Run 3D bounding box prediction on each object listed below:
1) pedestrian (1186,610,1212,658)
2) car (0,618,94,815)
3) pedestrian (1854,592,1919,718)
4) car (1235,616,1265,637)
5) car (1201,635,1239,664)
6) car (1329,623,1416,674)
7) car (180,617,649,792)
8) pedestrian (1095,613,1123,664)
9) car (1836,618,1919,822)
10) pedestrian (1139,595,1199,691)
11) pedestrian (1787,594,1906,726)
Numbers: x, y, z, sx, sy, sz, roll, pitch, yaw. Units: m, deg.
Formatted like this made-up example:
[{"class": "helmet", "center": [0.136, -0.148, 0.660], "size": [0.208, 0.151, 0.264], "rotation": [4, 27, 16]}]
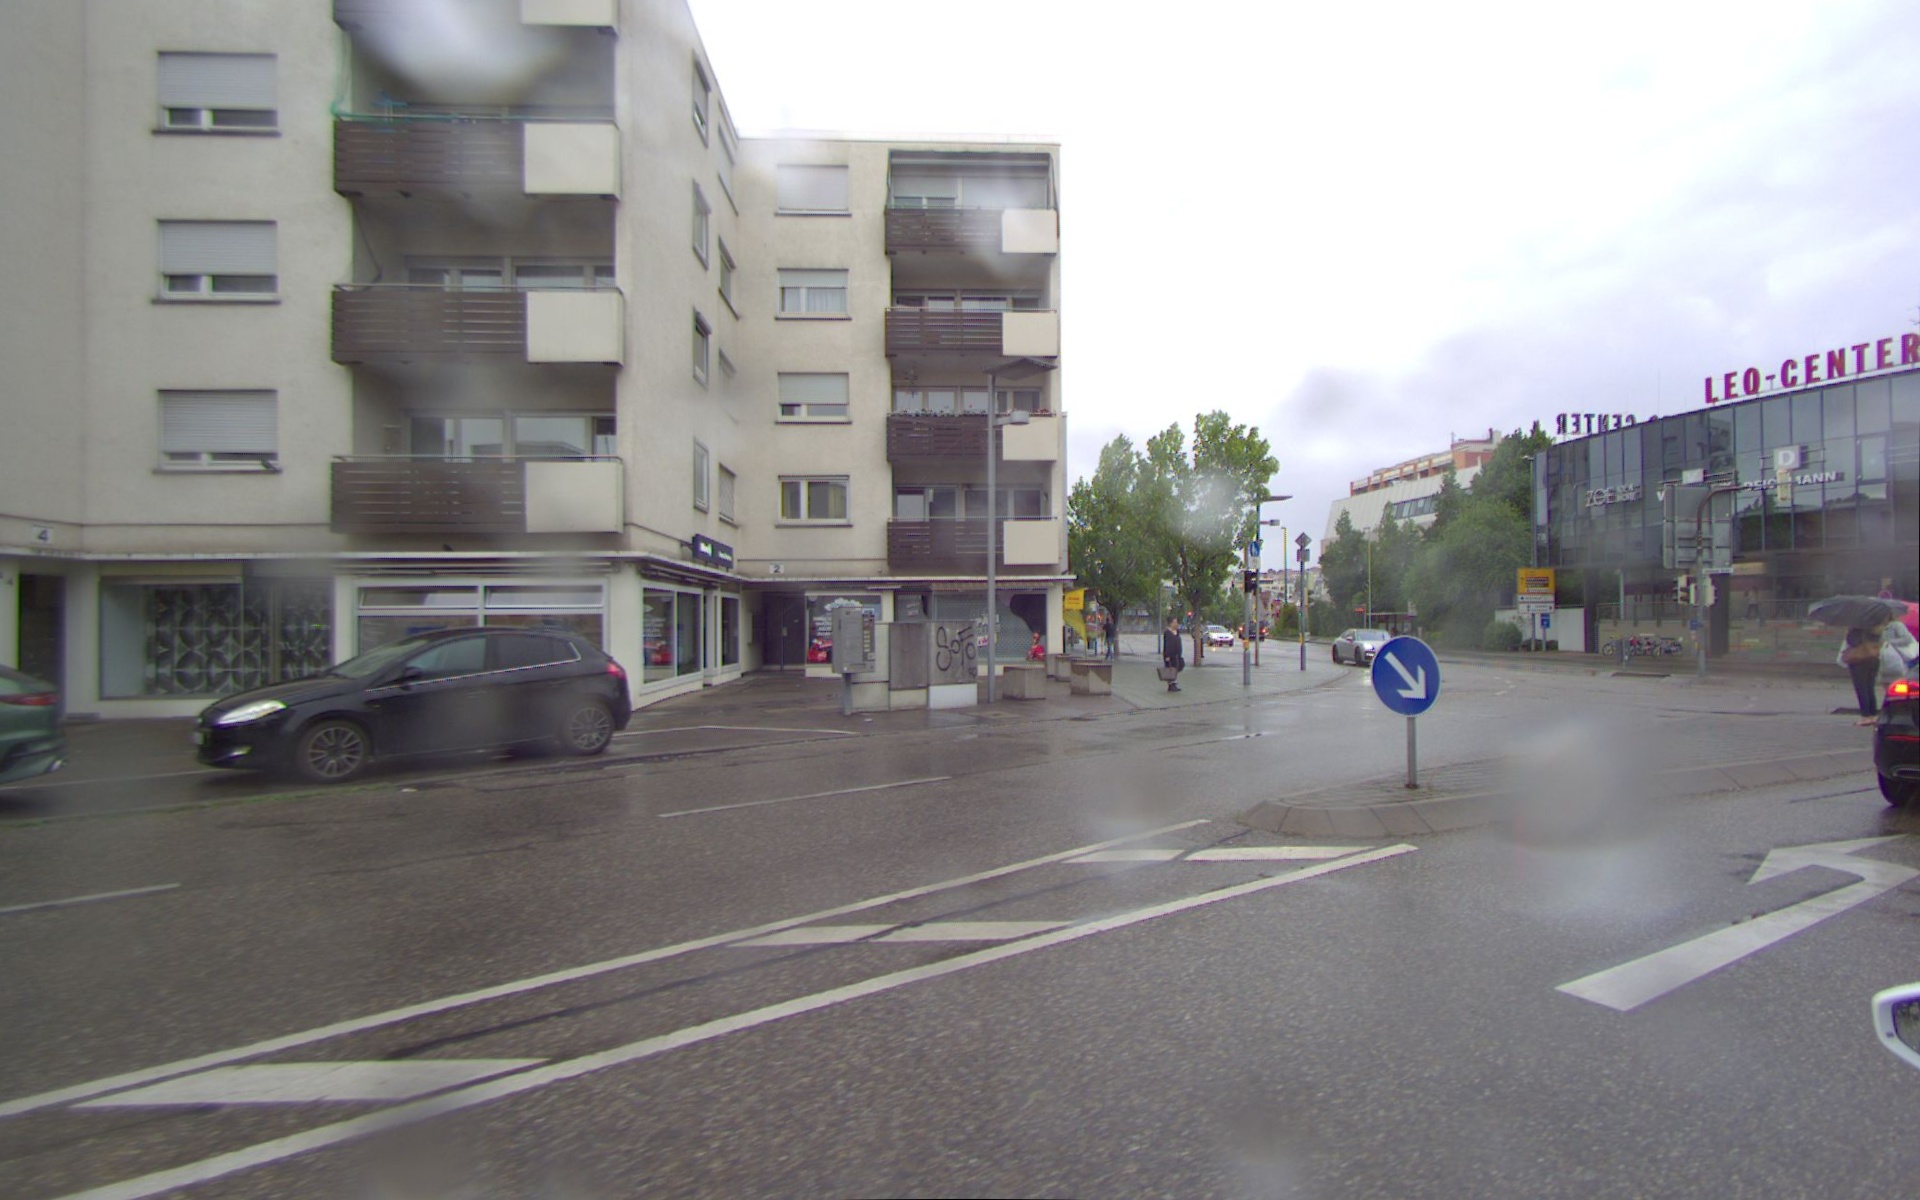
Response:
[{"class": "pedestrian", "center": [10.596, 1.489, 44.481], "size": [1.007, 2.041, 0.964], "rotation": [3, 2, 13]}, {"class": "car", "center": [-9.513, 0.918, 7.477], "size": [1.914, 1.562, 4.494], "rotation": [-1, -1, 44]}, {"class": "pedestrian", "center": [12.978, 0.740, 14.038], "size": [0.602, 1.682, 0.669], "rotation": [4, 3, 39]}, {"class": "car", "center": [28.596, 2.649, 99.264], "size": [1.960, 2.040, 4.002], "rotation": [0, -2, 2]}, {"class": "car", "center": [19.089, 3.604, 73.874], "size": [1.960, 2.040, 4.002], "rotation": [0, -2, 2]}, {"class": "car", "center": [16.057, 1.841, 39.358], "size": [1.959, 1.532, 4.434], "rotation": [2, 2, 7]}, {"class": "car", "center": [-5.893, 0.981, 11.231], "size": [1.914, 1.562, 4.247], "rotation": [-1, -1, 44]}, {"class": "pedestrian", "center": [6.243, 1.587, 42.105], "size": [1.007, 2.041, 0.964], "rotation": [3, 2, 13]}, {"class": "car", "center": [8.724, 0.861, 7.608], "size": [3.948, 1.438, 1.798], "rotation": [1, -1, -27]}, {"class": "pedestrian", "center": [4.576, 0.936, 22.026], "size": [0.909, 2.041, 0.746], "rotation": [2, 2, -25]}, {"class": "pedestrian", "center": [12.050, 0.787, 13.687], "size": [0.893, 1.682, 0.755], "rotation": [3, 3, 16]}]
